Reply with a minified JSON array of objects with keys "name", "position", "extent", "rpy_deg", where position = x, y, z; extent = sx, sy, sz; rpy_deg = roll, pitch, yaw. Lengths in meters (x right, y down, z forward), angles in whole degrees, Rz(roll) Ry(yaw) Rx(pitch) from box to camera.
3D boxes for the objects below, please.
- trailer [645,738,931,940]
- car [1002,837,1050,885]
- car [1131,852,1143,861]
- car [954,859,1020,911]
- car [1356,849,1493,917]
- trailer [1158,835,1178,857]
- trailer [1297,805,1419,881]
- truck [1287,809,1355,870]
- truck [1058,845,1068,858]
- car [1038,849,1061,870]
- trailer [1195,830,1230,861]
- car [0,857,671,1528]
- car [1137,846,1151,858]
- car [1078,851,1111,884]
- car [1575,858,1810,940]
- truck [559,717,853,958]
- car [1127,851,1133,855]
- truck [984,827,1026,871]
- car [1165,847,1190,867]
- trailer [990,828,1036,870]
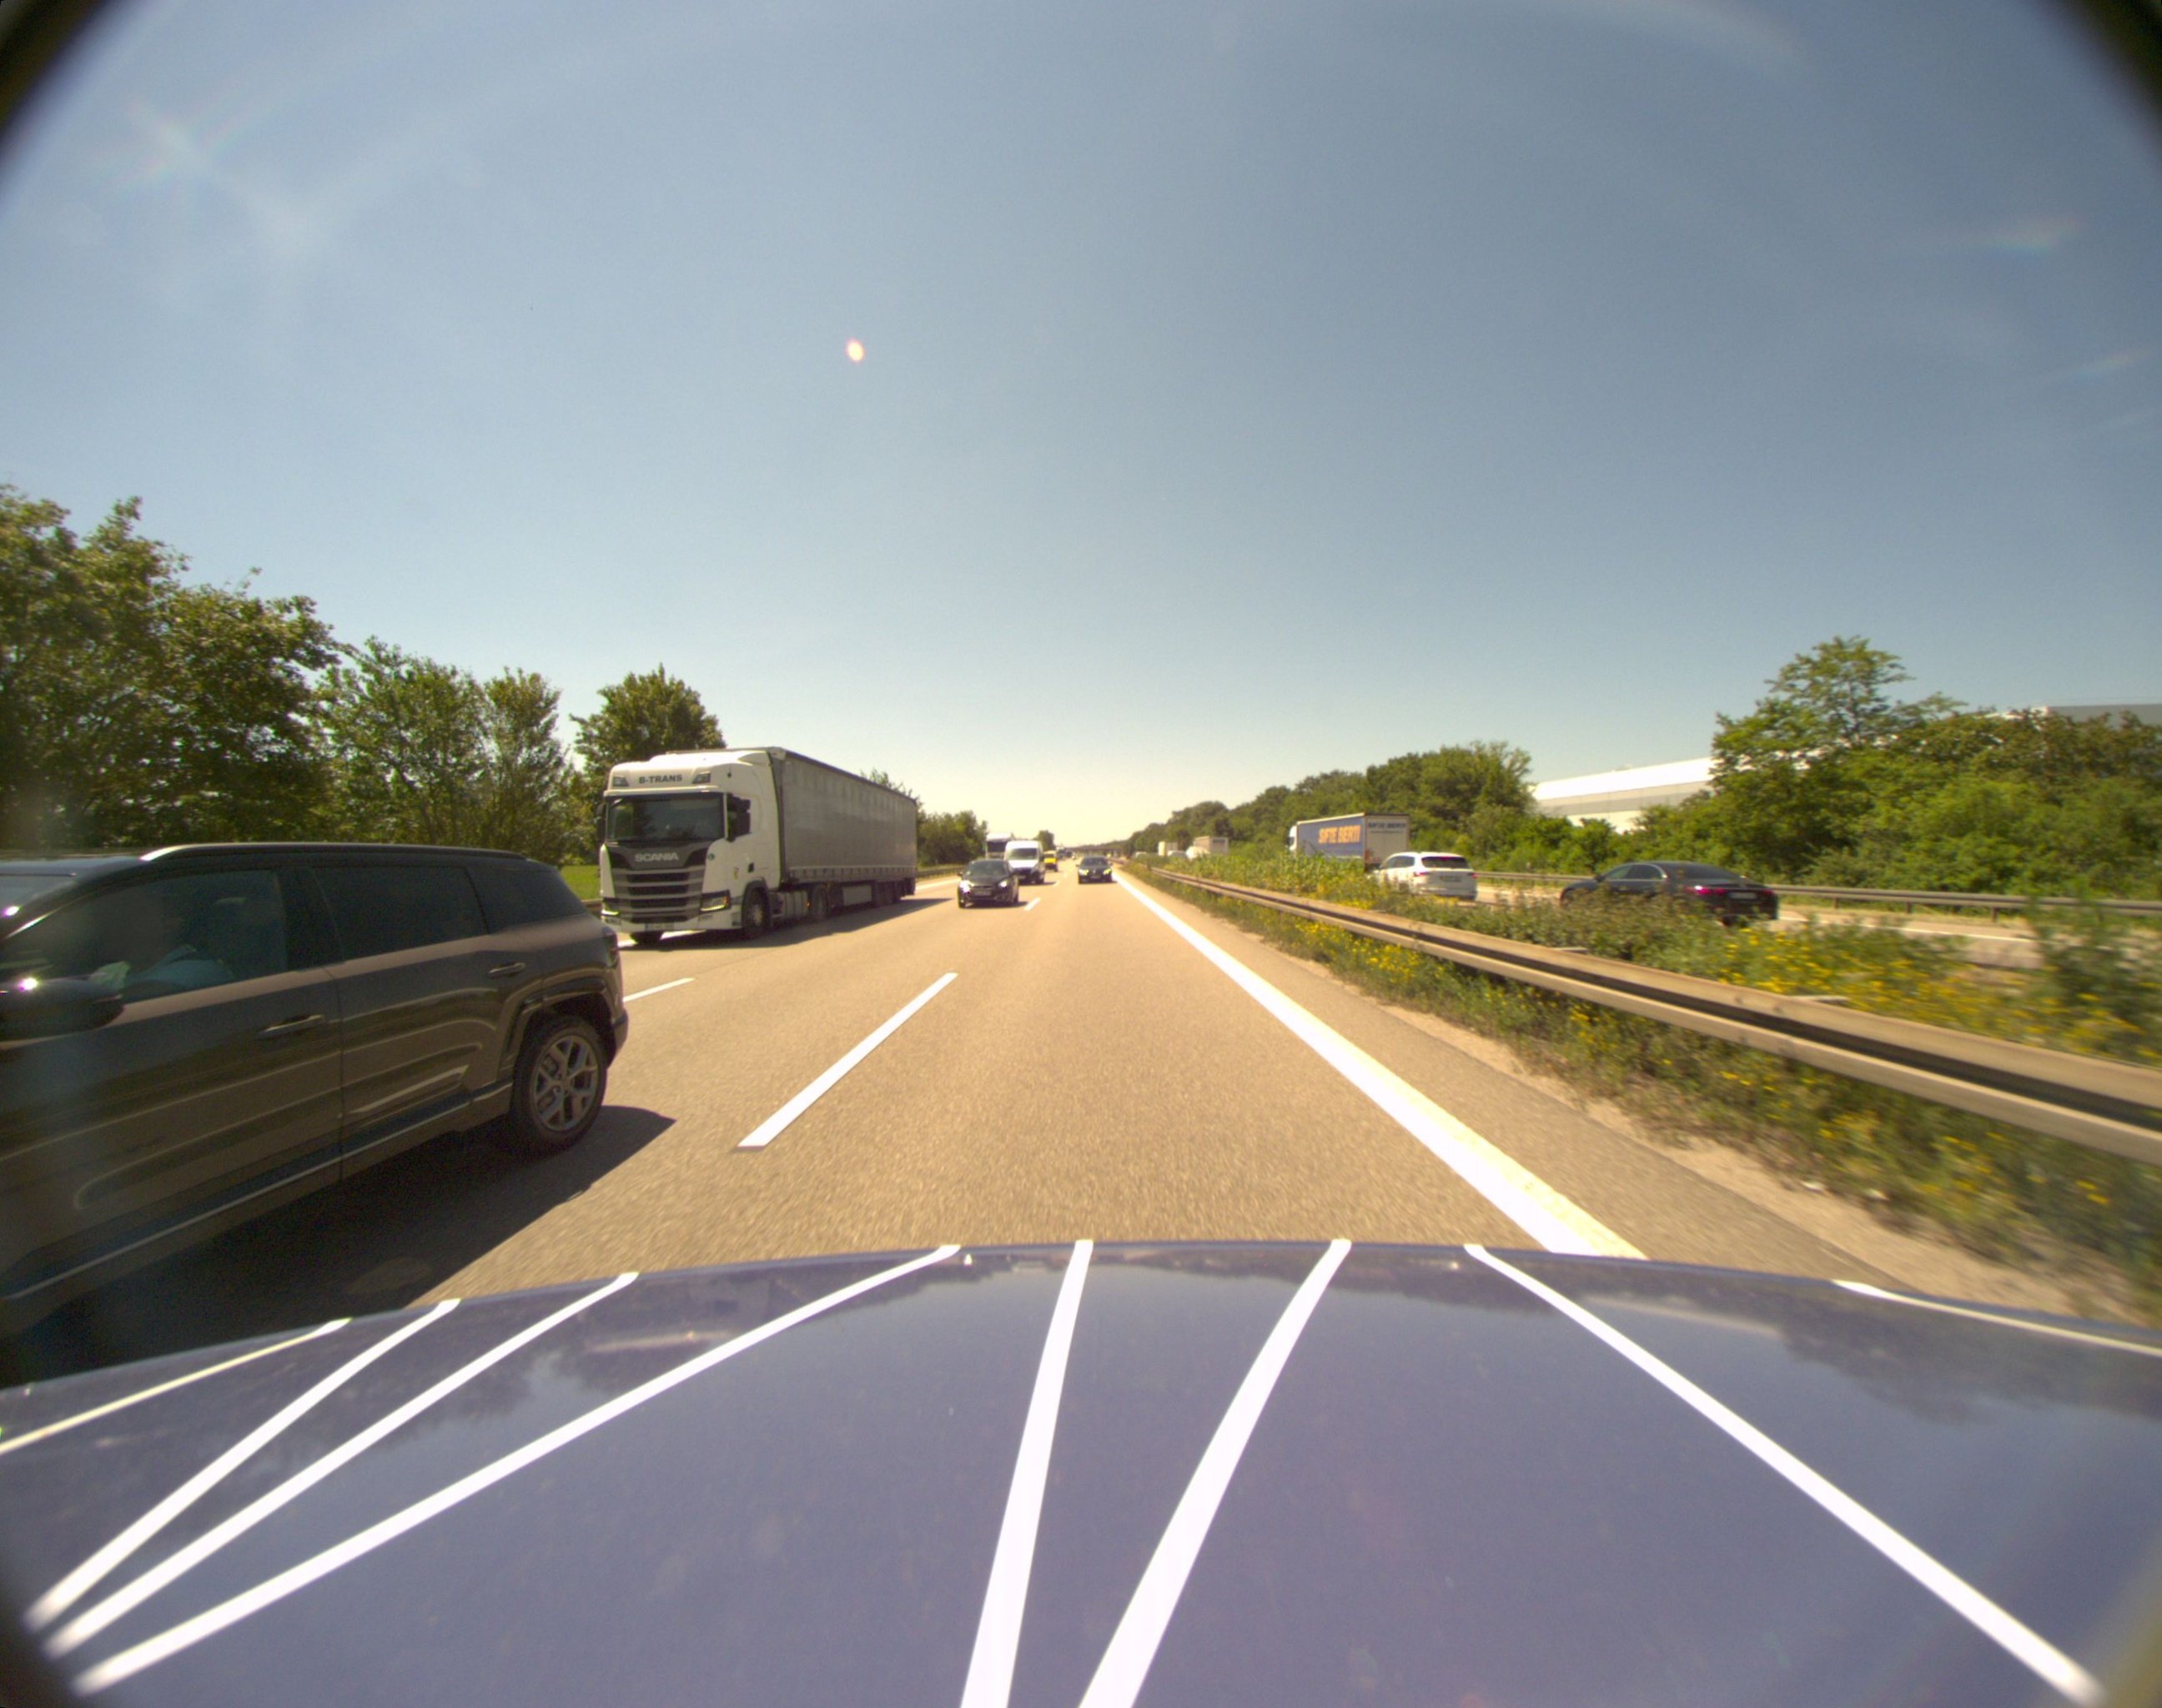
[{"name":"trailer","position":[-7.751,-0.377,23.572],"extent":[2.816,4.279,14.254],"rpy_deg":[-2,0,2]},{"name":"car","position":[-3.060,0.353,43.303],"extent":[2.159,2.494,5.945],"rpy_deg":[-2,1,0]},{"name":"car","position":[11.444,0.549,156.053],"extent":[1.964,1.684,4.801],"rpy_deg":[-2,1,-1]},{"name":"car","position":[-2.930,0.938,24.341],"extent":[1.692,1.465,3.432],"rpy_deg":[-2,0,-1]},{"name":"car","position":[9.642,0.728,21.770],"extent":[1.738,1.606,4.590],"rpy_deg":[4,1,0]},{"name":"trailer","position":[16.937,-1.471,148.363],"extent":[2.746,4.061,14.347],"rpy_deg":[1,0,2]},{"name":"trailer","position":[17.277,-0.863,48.913],"extent":[2.984,4.188,13.731],"rpy_deg":[0,2,1]},{"name":"truck","position":[17.367,-1.105,55.434],"extent":[3.013,4.188,6.309],"rpy_deg":[0,2,1]},{"name":"truck","position":[-5.333,-0.693,224.476],"extent":[2.976,3.626,7.148],"rpy_deg":[-2,1,-2]},{"name":"car","position":[-3.015,0.505,73.233],"extent":[1.958,1.939,3.999],"rpy_deg":[-2,1,0]},{"name":"trailer","position":[18.714,-1.139,108.827],"extent":[2.764,4.079,14.052],"rpy_deg":[1,1,1]},{"name":"car","position":[-3.691,0.906,2.590],"extent":[1.872,1.665,4.746],"rpy_deg":[-2,1,1]},{"name":"car","position":[11.135,-0.297,135.253],"extent":[1.998,2.019,5.490],"rpy_deg":[-2,1,0]},{"name":"car","position":[0.762,0.686,41.674],"extent":[1.690,1.646,3.462],"rpy_deg":[-2,1,2]},{"name":"car","position":[13.150,0.883,16.683],"extent":[1.823,1.543,3.863],"rpy_deg":[0,0,-6]},{"name":"truck","position":[-7.910,-0.322,17.441],"extent":[2.816,4.279,7.193],"rpy_deg":[-2,1,2]},{"name":"car","position":[16.250,-0.383,253.474],"extent":[1.776,1.409,4.112],"rpy_deg":[1,0,6]},{"name":"truck","position":[-7.250,-0.481,73.644],"extent":[2.699,3.943,7.704],"rpy_deg":[-2,0,3]},{"name":"car","position":[10.816,0.287,85.405],"extent":[1.999,2.061,4.712],"rpy_deg":[-2,1,-1]},{"name":"trailer","position":[-6.902,-0.513,79.520],"extent":[2.699,3.943,13.963],"rpy_deg":[-2,0,3]}]
